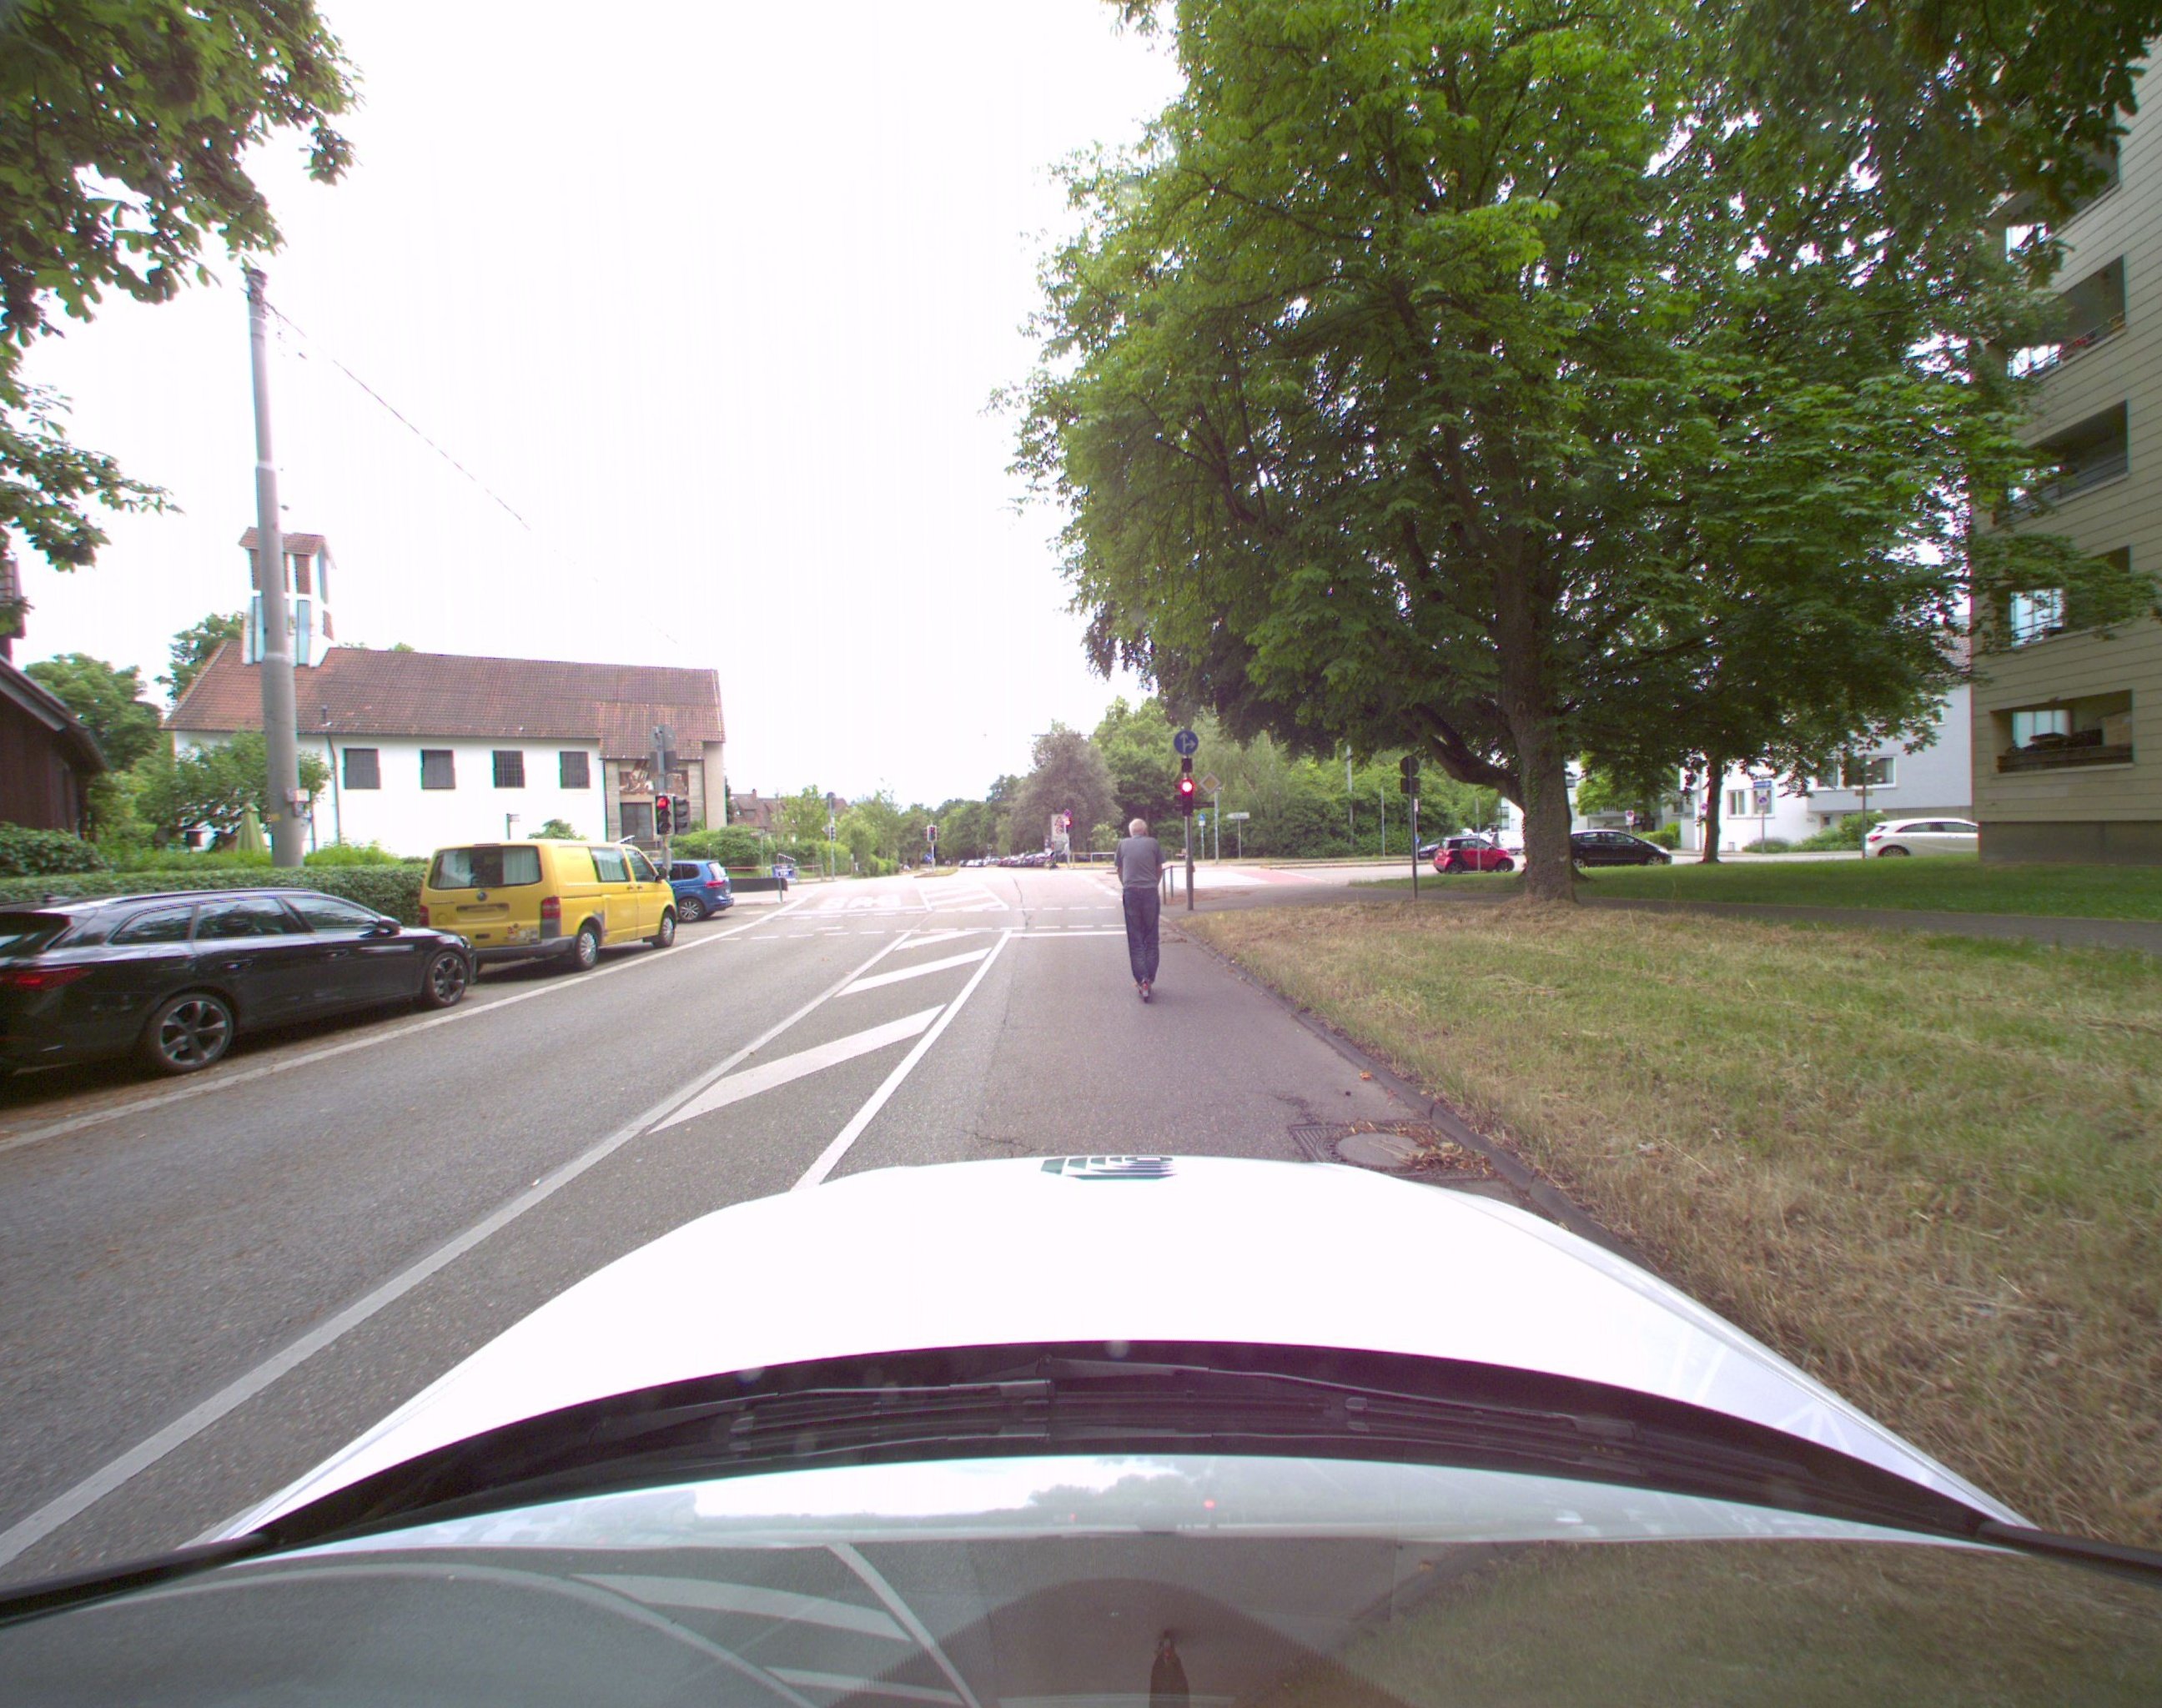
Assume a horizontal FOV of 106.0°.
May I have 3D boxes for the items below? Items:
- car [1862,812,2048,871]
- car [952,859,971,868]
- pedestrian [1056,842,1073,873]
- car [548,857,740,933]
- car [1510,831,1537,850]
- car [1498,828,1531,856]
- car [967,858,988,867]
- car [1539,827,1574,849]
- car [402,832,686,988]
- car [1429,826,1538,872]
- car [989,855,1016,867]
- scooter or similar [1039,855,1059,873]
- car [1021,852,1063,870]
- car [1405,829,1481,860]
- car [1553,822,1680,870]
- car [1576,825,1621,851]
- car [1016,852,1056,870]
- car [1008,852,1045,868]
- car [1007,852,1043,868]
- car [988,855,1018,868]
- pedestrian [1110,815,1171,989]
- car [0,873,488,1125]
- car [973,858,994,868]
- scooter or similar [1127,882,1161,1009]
[{"bbox_3d":[27.600,-0.376,25.920,3.804,1.610,1.739,-3,0,42],"label":"car"},{"bbox_3d":[-26.748,2.125,182.900,3.857,1.610,1.715,-4,0,-22],"label":"car"},{"bbox_3d":[-1.070,0.216,51.467,0.885,1.862,0.572,-3,0,-14],"label":"pedestrian"},{"bbox_3d":[-11.250,1.012,21.275,3.994,1.610,1.809,-3,0,-15],"label":"car"},{"bbox_3d":[41.515,-1.255,76.479,1.708,1.610,3.874,-3,0,21],"label":"car"},{"bbox_3d":[27.986,-0.777,52.545,1.706,1.610,3.878,-3,0,29],"label":"car"},{"bbox_3d":[-21.172,1.739,165.857,3.857,1.610,1.715,-4,0,-22],"label":"car"},{"bbox_3d":[37.908,-1.272,64.992,1.708,1.610,3.874,-3,0,21],"label":"car"},{"bbox_3d":[-8.322,0.741,13.252,1.881,2.013,4.556,-3,0,-6],"label":"car"},{"bbox_3d":[16.119,-0.203,32.769,3.501,1.610,1.731,-3,0,5],"label":"car"},{"bbox_3d":[-12.484,1.077,129.159,3.857,1.610,1.715,-4,0,-22],"label":"car"},{"bbox_3d":[-2.011,0.644,51.218,1.110,1.081,0.574,-3,0,-16],"label":"scooter or similar"},{"bbox_3d":[-4.037,0.723,83.994,3.859,1.610,1.715,-4,0,-23],"label":"car"},{"bbox_3d":[20.437,-0.534,46.100,3.499,1.530,1.732,-3,0,7],"label":"car"},{"bbox_3d":[20.457,-0.316,31.301,3.805,1.610,1.739,-3,0,26],"label":"car"},{"bbox_3d":[34.727,-1.082,54.717,1.708,1.610,3.874,-3,0,21],"label":"car"},{"bbox_3d":[-4.776,0.745,86.538,3.857,1.610,1.715,-4,0,-22],"label":"car"},{"bbox_3d":[-6.247,0.727,93.893,3.857,1.610,1.715,-4,0,-22],"label":"car"},{"bbox_3d":[-6.628,0.743,96.307,3.857,1.610,1.715,-4,0,-22],"label":"car"},{"bbox_3d":[-11.149,1.077,116.185,3.857,1.610,1.715,-4,0,-22],"label":"car"},{"bbox_3d":[0.635,0.504,8.770,0.570,1.813,0.420,-3,0,2],"label":"pedestrian"},{"bbox_3d":[-7.878,1.020,7.422,1.686,1.485,4.538,-3,0,-3],"label":"car"},{"bbox_3d":[-19.356,1.748,161.358,3.857,1.610,1.715,-4,0,-22],"label":"car"},{"bbox_3d":[0.654,0.910,8.503,0.280,1.178,1.178,-3,0,4],"label":"scooter or similar"}]
